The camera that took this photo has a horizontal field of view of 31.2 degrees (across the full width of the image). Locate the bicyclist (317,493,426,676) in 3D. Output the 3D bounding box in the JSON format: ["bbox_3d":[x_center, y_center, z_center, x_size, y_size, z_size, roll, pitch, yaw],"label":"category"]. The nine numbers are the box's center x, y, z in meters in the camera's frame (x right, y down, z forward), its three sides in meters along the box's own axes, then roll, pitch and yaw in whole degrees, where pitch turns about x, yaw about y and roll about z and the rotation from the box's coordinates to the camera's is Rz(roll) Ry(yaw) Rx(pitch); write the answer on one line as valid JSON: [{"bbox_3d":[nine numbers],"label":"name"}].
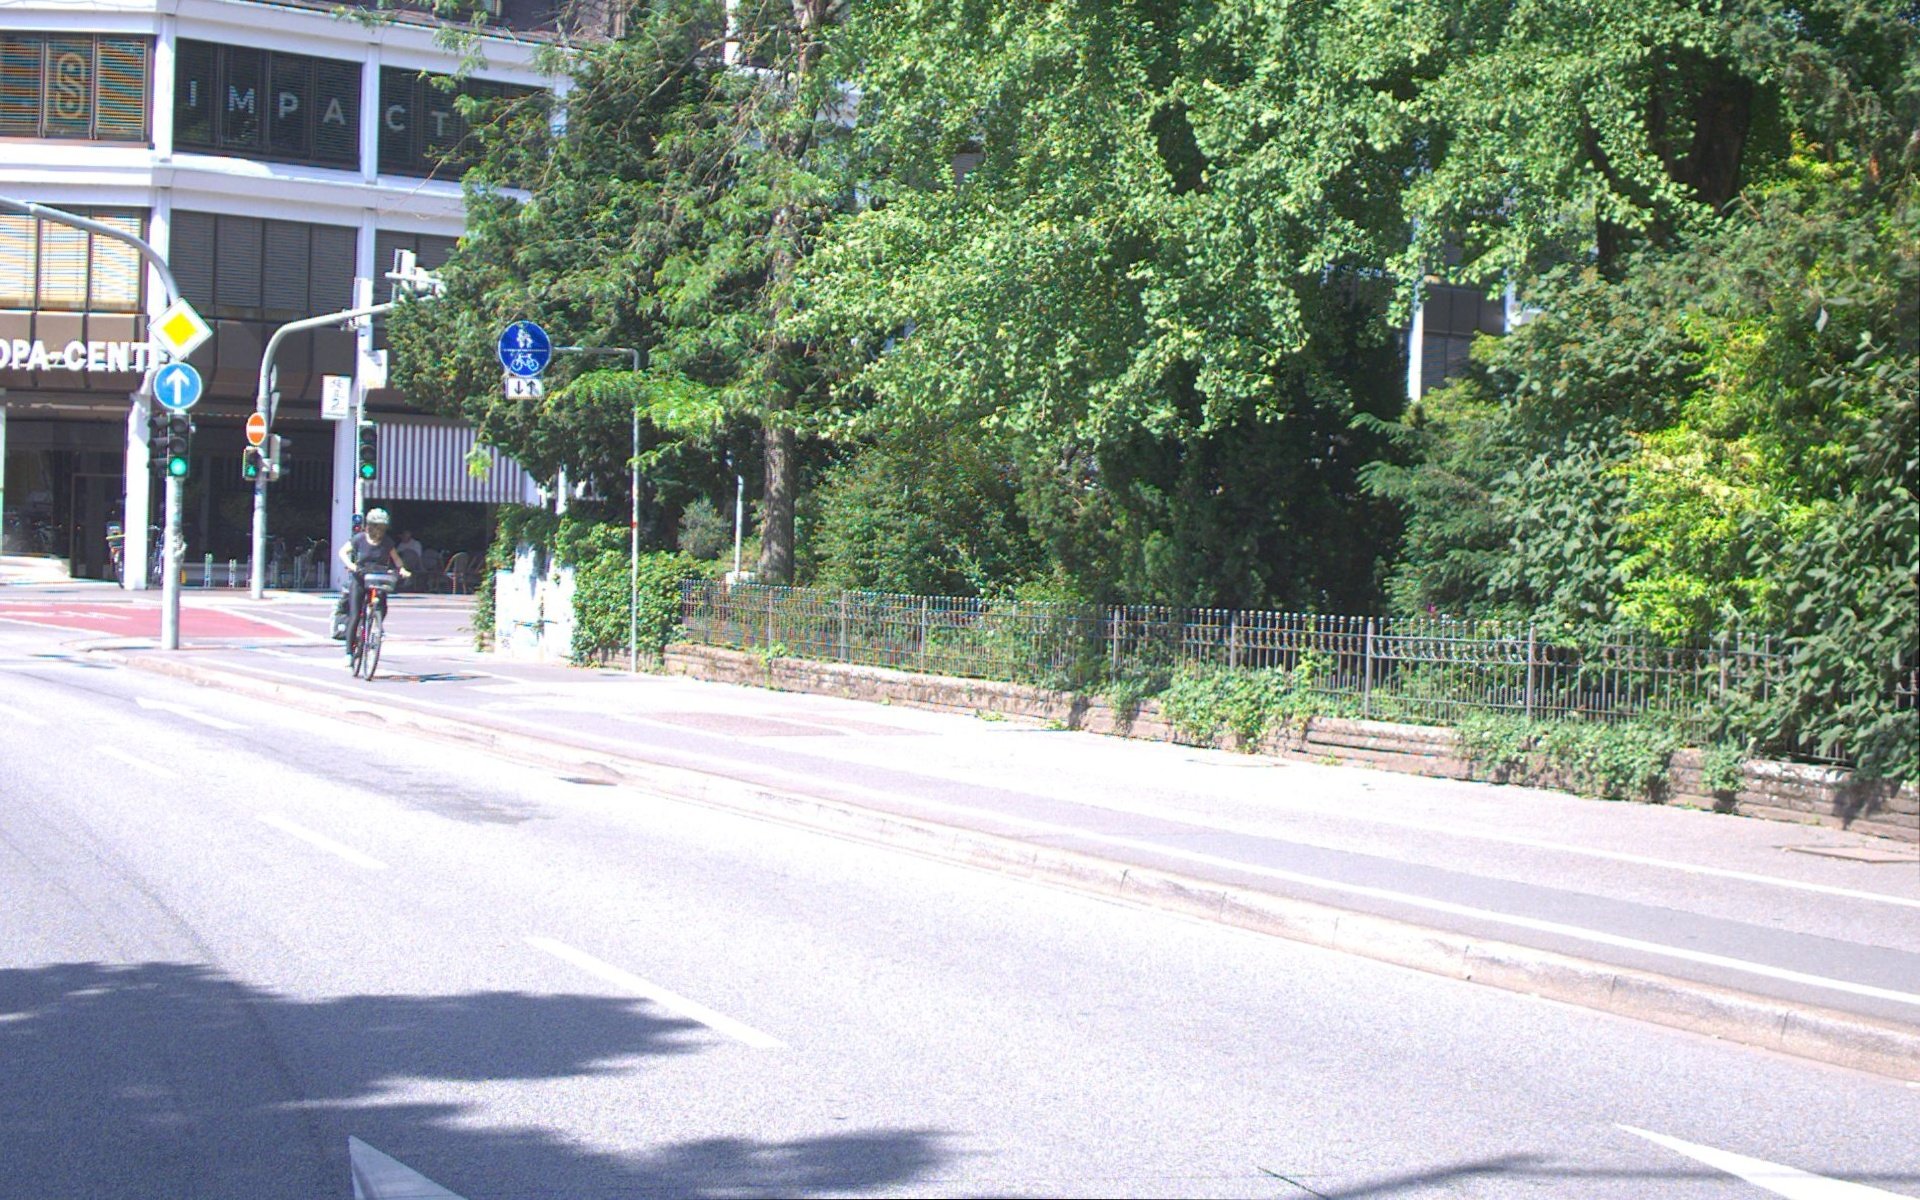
[{"bbox_3d":[-5.965,-0.168,34.798,0.858,1.790,1.130,2,1,-18],"label":"bicyclist"}]

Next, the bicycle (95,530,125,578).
[{"bbox_3d":[-16.300,-0.895,65.930,0.507,0.898,1.523,1,1,-12],"label":"bicycle"}]

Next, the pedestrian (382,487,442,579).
[{"bbox_3d":[-12.101,-1.480,75.970,0.984,2.007,0.863,1,1,-36],"label":"pedestrian"}]

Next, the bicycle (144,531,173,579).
[{"bbox_3d":[-15.424,-0.863,66.138,0.507,0.898,1.523,1,1,-12],"label":"bicycle"}]

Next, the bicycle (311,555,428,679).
[{"bbox_3d":[-5.994,0.154,34.815,0.853,1.156,2.084,2,1,-18],"label":"bicycle"}]
